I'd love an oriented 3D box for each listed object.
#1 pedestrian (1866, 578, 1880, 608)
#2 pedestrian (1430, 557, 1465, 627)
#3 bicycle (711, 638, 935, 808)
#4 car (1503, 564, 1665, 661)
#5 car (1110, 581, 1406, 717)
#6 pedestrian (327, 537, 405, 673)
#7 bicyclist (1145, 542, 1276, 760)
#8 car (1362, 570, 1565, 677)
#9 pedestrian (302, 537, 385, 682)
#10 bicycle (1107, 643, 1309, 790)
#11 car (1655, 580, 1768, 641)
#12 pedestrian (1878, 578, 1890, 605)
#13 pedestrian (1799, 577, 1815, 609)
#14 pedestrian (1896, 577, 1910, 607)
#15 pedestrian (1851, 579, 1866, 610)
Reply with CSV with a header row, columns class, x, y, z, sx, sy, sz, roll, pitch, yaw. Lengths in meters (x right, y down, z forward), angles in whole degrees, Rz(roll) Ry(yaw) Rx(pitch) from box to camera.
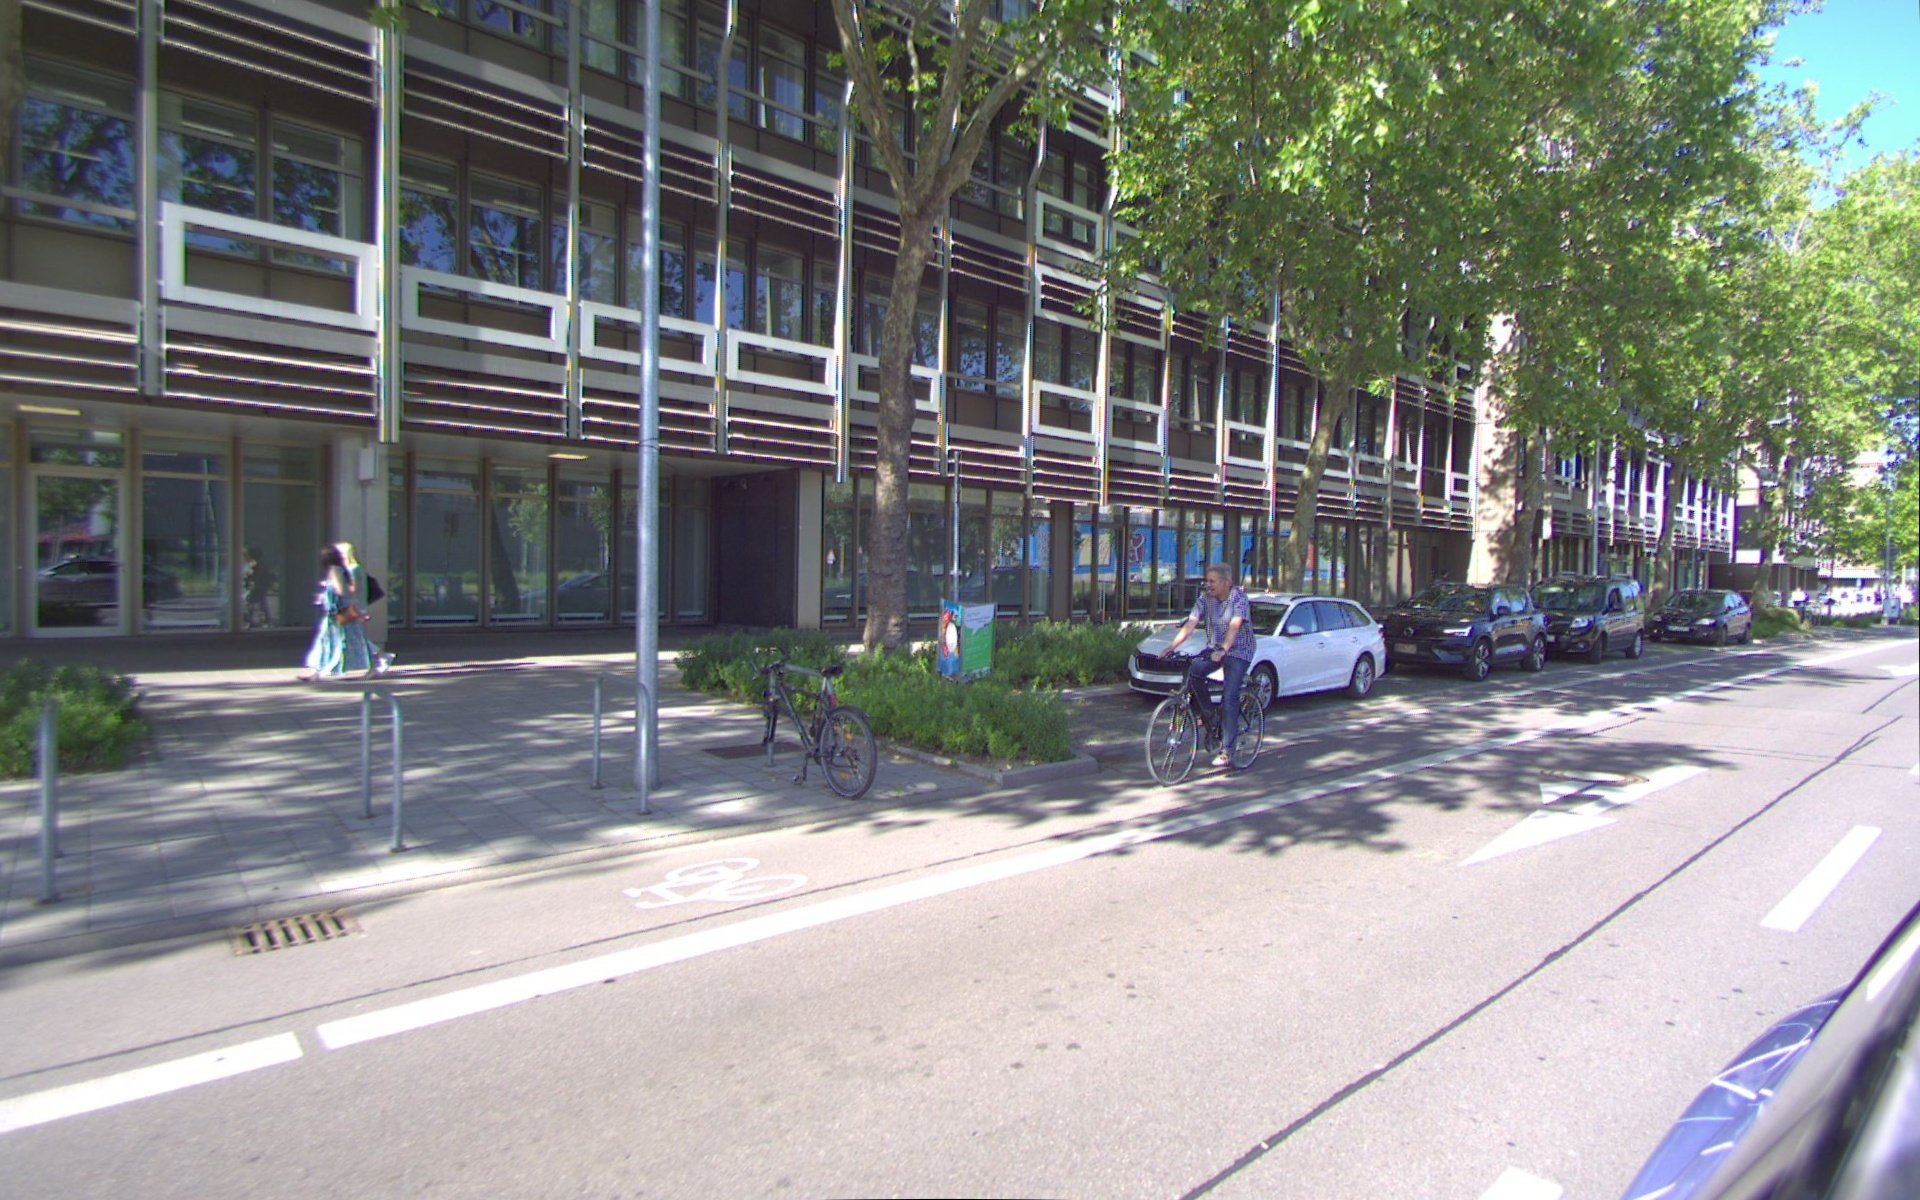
class,x,y,z,sx,sy,sz,roll,pitch,yaw
pedestrian,58.625,-0.456,64.973,0.559,1.863,0.591,0,1,-42
pedestrian,14.567,-0.240,30.225,0.615,2.039,0.741,0,1,-41
bicycle,-1.093,0.862,7.716,0.700,0.972,1.845,0,3,-45
car,13.498,0.209,21.791,4.262,1.843,1.751,0,3,-42
car,4.193,0.546,13.850,4.481,1.508,1.751,0,3,-42
pedestrian,-7.435,0.043,12.662,0.715,1.620,0.667,0,3,-40
bicyclist,2.103,0.399,8.483,0.838,1.709,0.710,0,-1,-43
car,9.121,0.351,18.190,4.262,1.653,1.751,0,3,-42
pedestrian,-7.245,0.091,11.889,0.715,1.620,0.667,0,3,-40
bicycle,2.116,0.911,8.482,1.891,1.006,0.710,-1,0,-43
car,21.810,0.263,29.316,4.262,1.573,1.751,0,3,-42
pedestrian,64.251,-0.595,70.372,0.559,1.863,0.591,0,1,-42
pedestrian,49.151,-0.412,58.748,0.685,1.863,0.590,0,1,-42
pedestrian,59.632,-0.527,63.978,0.559,1.863,0.591,0,1,-42
pedestrian,54.772,-0.348,61.713,0.684,1.863,0.590,0,1,-42
